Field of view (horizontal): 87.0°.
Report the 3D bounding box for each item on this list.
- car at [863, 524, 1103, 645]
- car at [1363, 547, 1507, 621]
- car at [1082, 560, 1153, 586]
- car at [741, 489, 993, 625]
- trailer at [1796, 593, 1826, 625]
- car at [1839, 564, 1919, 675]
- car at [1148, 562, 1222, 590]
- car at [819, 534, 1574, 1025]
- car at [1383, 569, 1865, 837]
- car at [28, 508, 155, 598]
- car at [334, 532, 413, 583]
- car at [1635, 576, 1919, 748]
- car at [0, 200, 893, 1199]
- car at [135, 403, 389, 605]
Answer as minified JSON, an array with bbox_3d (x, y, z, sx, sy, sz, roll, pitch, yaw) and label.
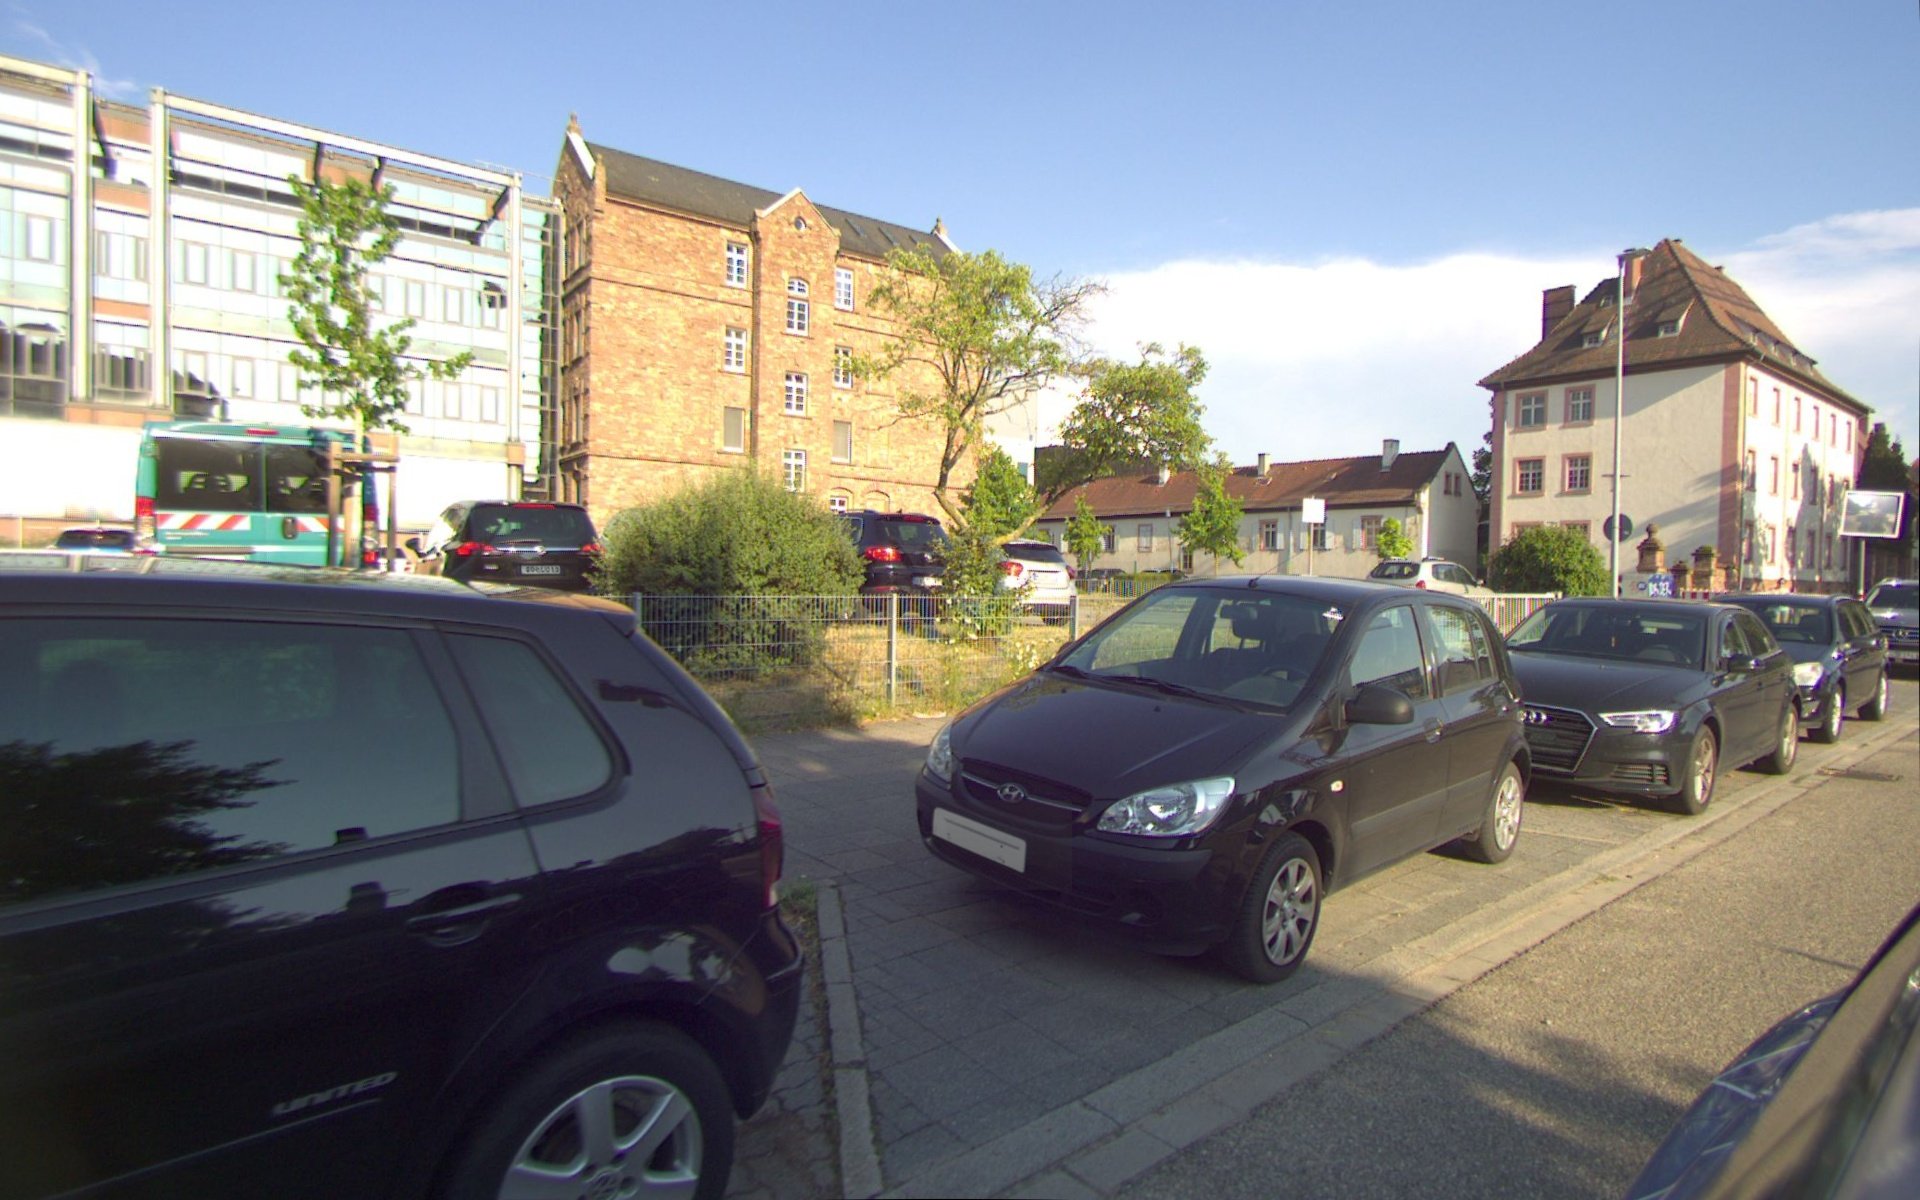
[{"bbox_3d":[0.285,-0.242,17.358,1.965,1.816,3.994,-1,0,-40],"label":"car"},{"bbox_3d":[11.699,-0.392,24.830,3.929,1.683,1.656,-1,0,-39],"label":"car"},{"bbox_3d":[10.886,-1.874,69.838,4.879,1.734,1.999,-1,0,-36],"label":"car"},{"bbox_3d":[-1.552,-0.589,15.655,1.965,1.816,3.994,-1,0,-40],"label":"car"},{"bbox_3d":[29.460,0.296,35.019,1.243,1.080,0.484,-1,0,-35],"label":"trailer"},{"bbox_3d":[17.851,0.307,18.377,4.724,1.799,1.927,-1,6,-39],"label":"car"},{"bbox_3d":[14.798,-1.567,66.528,4.879,1.734,1.999,-1,0,-36],"label":"car"},{"bbox_3d":[1.417,0.548,4.933,3.892,1.454,1.653,2,1,-43],"label":"car"},{"bbox_3d":[5.666,0.563,8.384,4.724,1.547,1.907,-1,5,-39],"label":"car"},{"bbox_3d":[-17.671,-0.877,20.763,1.701,1.622,4.488,-1,1,-37],"label":"car"},{"bbox_3d":[-19.407,-1.354,33.386,1.701,1.473,4.488,-1,1,-37],"label":"car"},{"bbox_3d":[9.589,0.539,11.648,4.360,1.559,1.747,-1,4,-39],"label":"car"},{"bbox_3d":[-2.483,0.386,1.471,4.499,1.801,1.906,-1,3,-39],"label":"car"},{"bbox_3d":[-7.901,-0.880,11.298,1.965,1.816,3.994,-1,0,-40],"label":"car"}]
